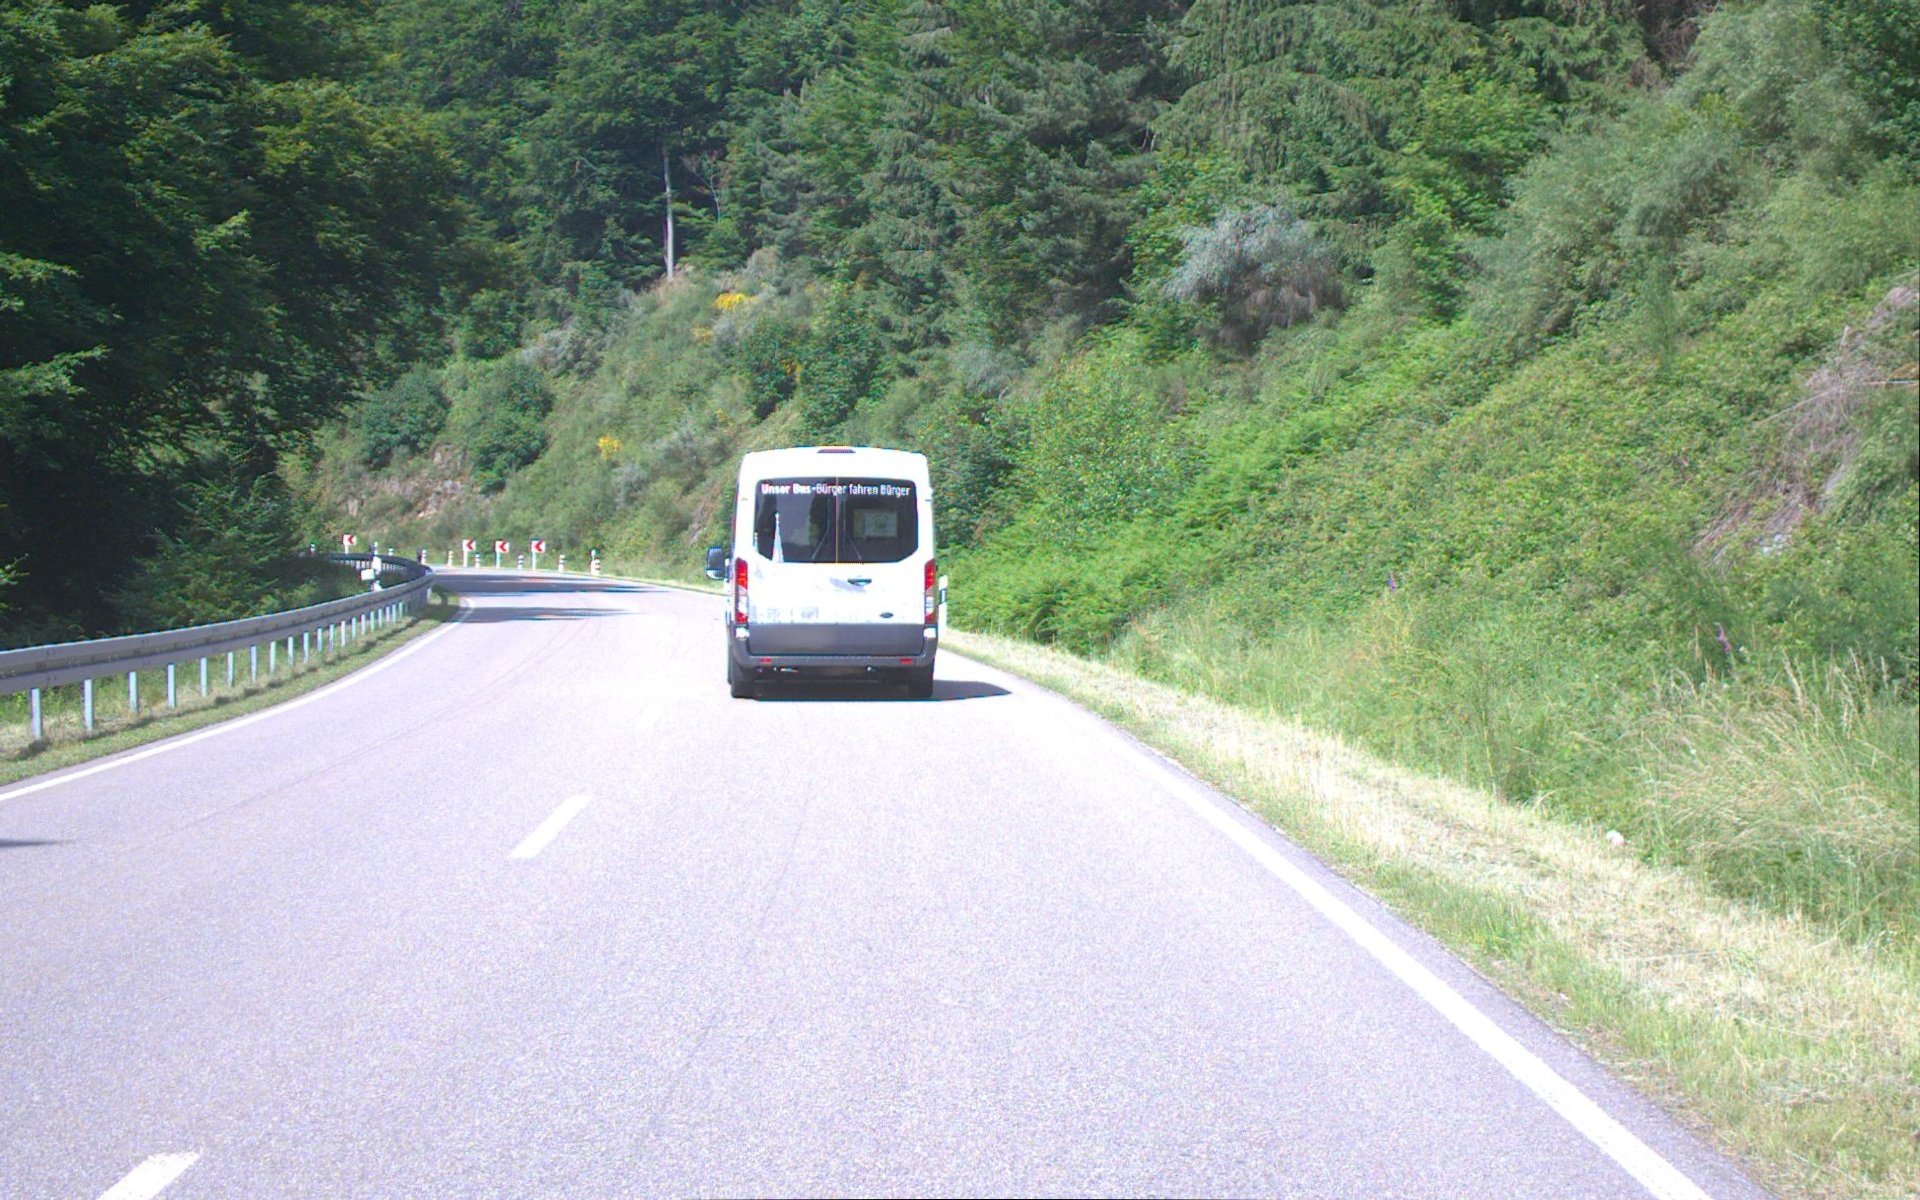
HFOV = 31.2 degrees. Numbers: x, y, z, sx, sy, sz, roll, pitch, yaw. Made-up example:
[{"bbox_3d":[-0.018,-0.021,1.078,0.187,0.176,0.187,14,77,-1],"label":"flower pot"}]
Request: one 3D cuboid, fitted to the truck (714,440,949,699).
[{"bbox_3d":[-1.392,-0.337,35.140,2.083,2.451,4.876,0,1,-6],"label":"truck"}]
